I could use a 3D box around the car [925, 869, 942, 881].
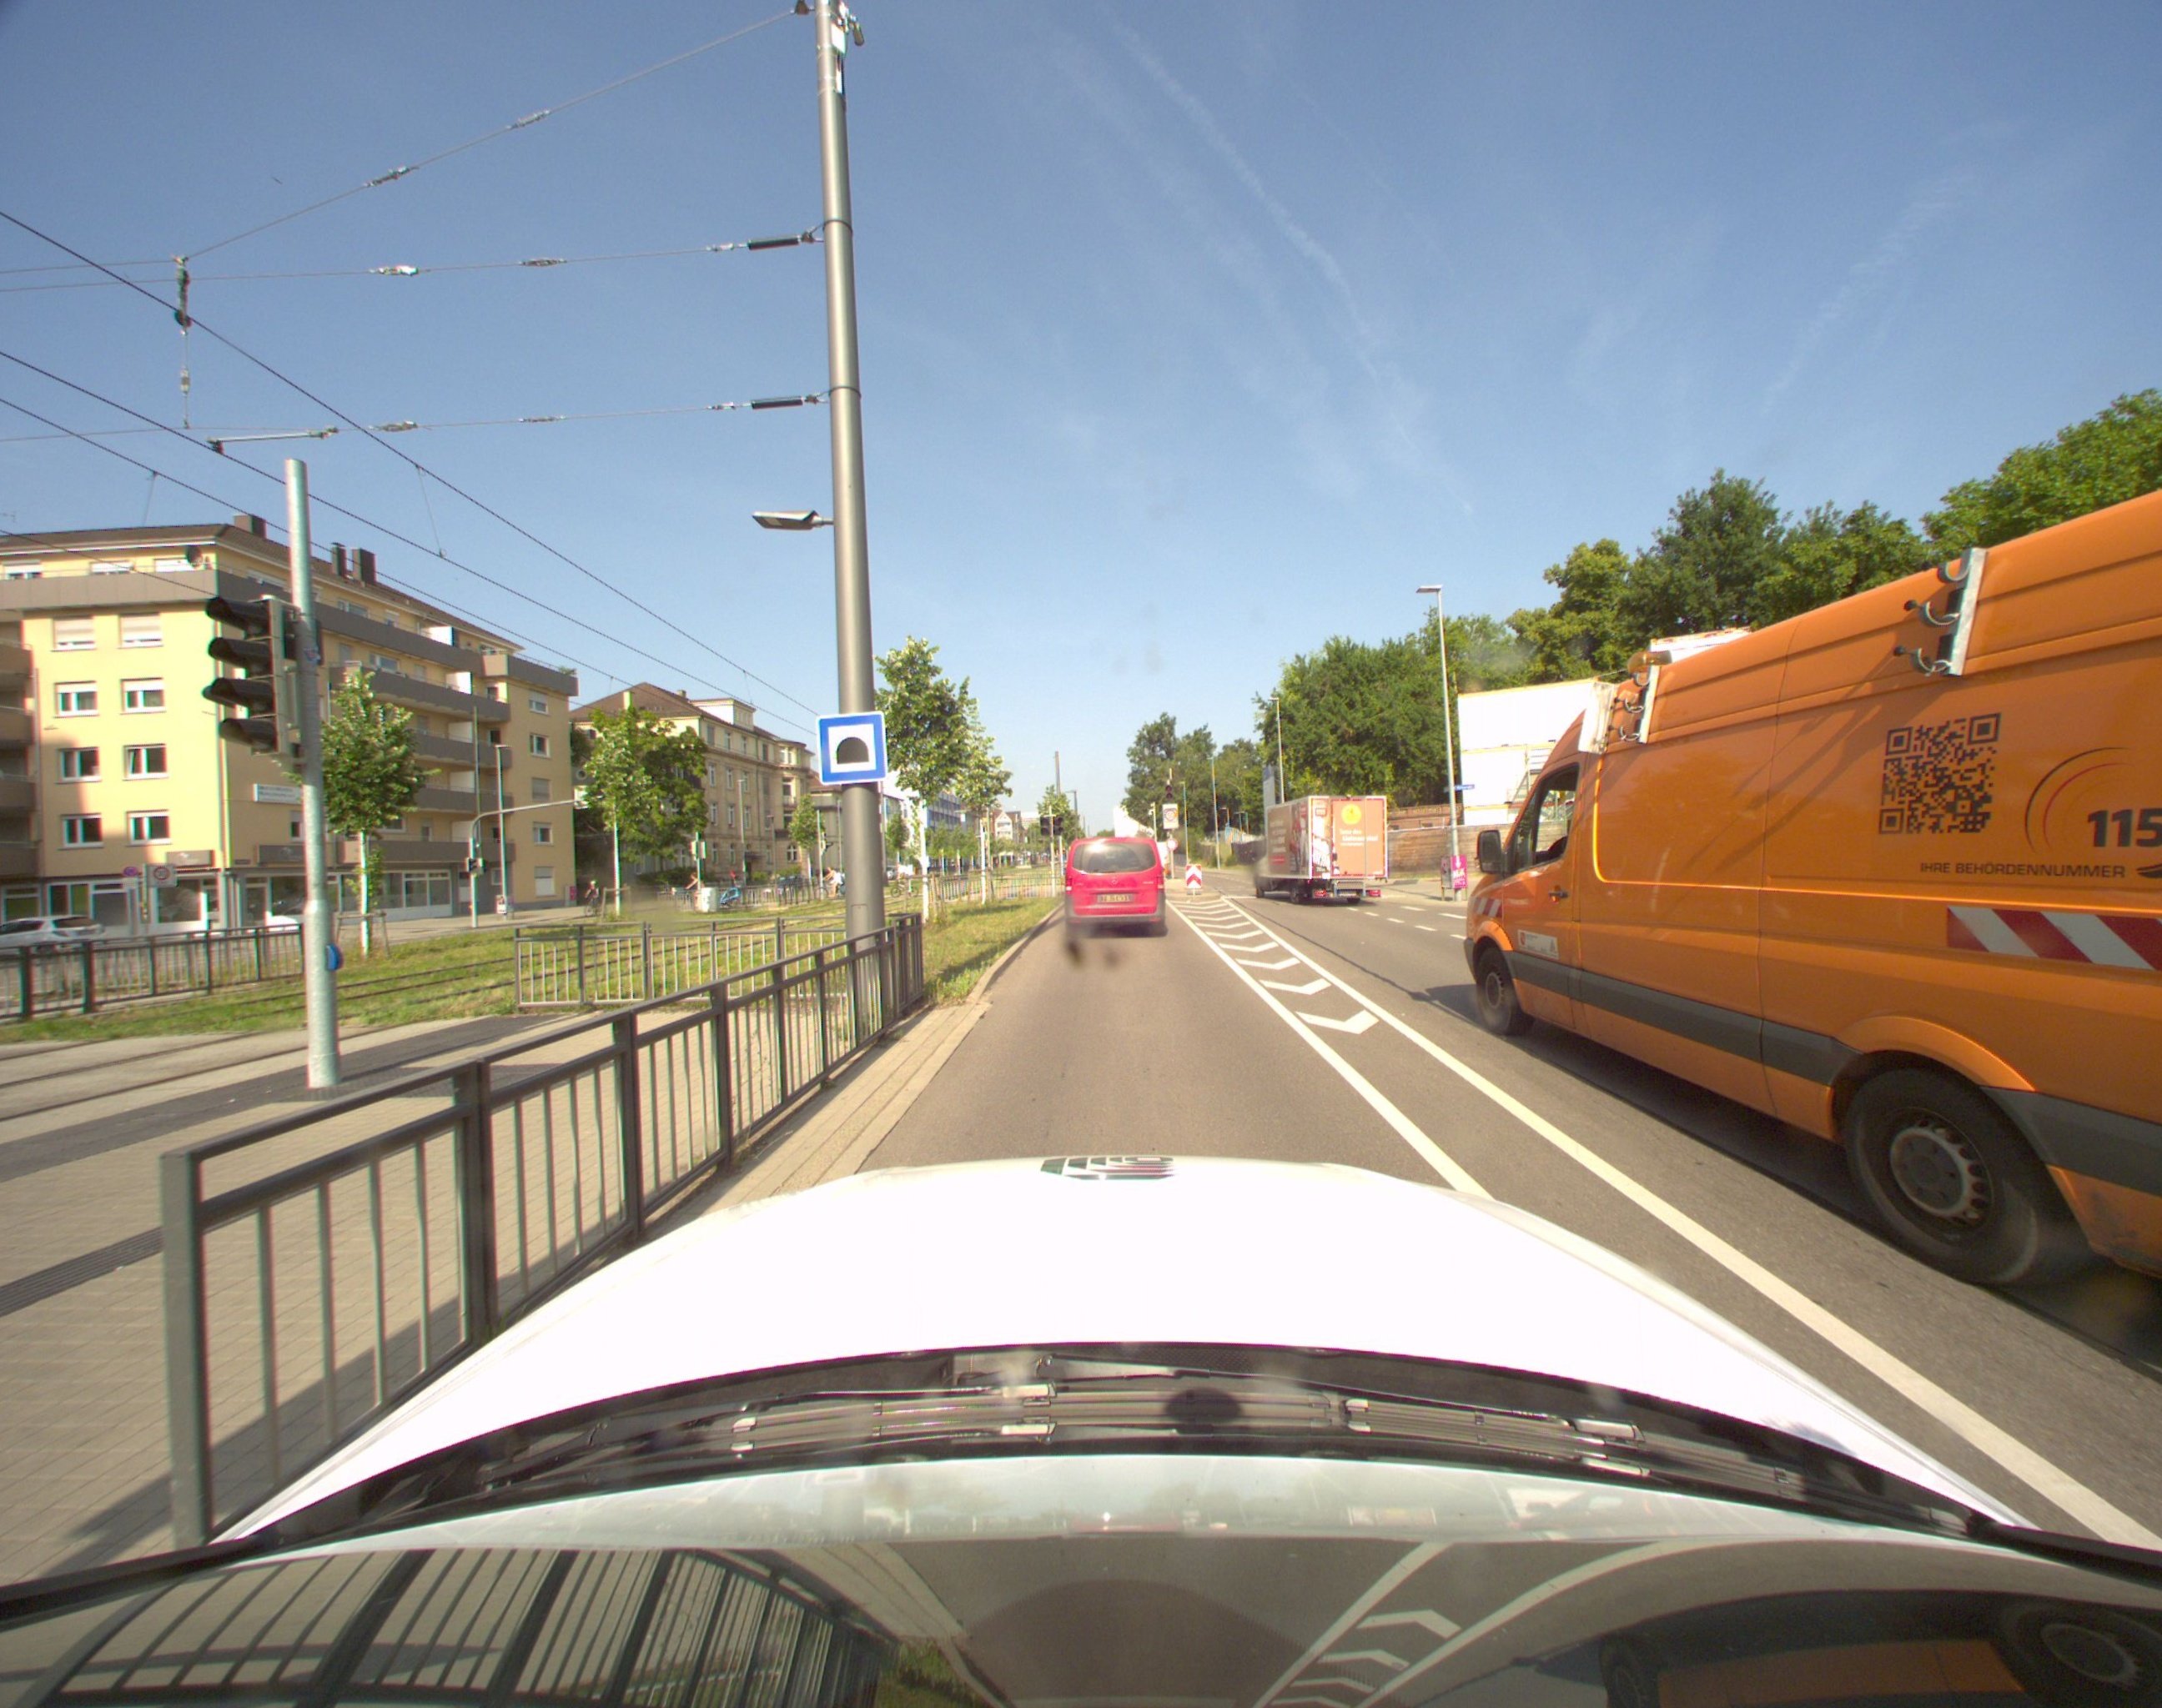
[{"bbox_3d":[-23.404,3.294,129.377,1.910,1.813,4.002,-1,-1,2],"label":"car"}]

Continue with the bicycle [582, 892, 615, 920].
[{"bbox_3d":[-25.006,2.688,42.210,0.693,1.346,1.756,-3,-1,-3],"label":"bicycle"}]

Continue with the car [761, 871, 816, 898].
[{"bbox_3d":[-19.348,1.994,54.111,1.987,1.513,4.397,-3,0,0],"label":"car"}]

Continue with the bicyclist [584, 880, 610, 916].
[{"bbox_3d":[-25.025,2.273,42.159,0.667,1.805,1.082,-3,-1,-3],"label":"bicyclist"}]

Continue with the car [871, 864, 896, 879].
[{"bbox_3d":[-27.889,2.453,115.441,2.242,2.014,5.262,-1,-2,0],"label":"car"}]

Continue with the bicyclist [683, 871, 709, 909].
[{"bbox_3d":[-17.310,1.617,36.642,0.896,1.628,0.883,-2,-1,-32],"label":"bicyclist"}]

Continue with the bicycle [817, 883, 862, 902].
[{"bbox_3d":[-11.800,1.881,39.893,1.995,0.793,0.627,-3,0,-8],"label":"bicycle"}]

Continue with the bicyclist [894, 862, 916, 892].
[{"bbox_3d":[-8.609,1.120,39.915,0.679,1.440,0.811,-1,-1,30],"label":"bicyclist"}]

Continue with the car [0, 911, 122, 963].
[{"bbox_3d":[-38.707,3.093,30.366,3.613,1.583,1.708,-3,2,-2],"label":"car"}]

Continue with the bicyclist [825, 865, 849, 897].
[{"bbox_3d":[-11.940,1.333,39.876,0.983,1.500,0.619,-3,0,-8],"label":"bicyclist"}]

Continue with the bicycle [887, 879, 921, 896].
[{"bbox_3d":[-8.638,1.630,39.856,0.711,0.798,1.613,-1,-1,30],"label":"bicycle"}]

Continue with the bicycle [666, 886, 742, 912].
[{"bbox_3d":[-17.019,2.036,36.835,3.009,0.965,0.891,-2,-1,-34],"label":"bicycle"}]

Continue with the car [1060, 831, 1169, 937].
[{"bbox_3d":[0.748,0.542,16.394,1.892,1.859,4.005,-1,0,5],"label":"car"}]

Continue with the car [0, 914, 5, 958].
[{"bbox_3d":[-43.319,3.232,30.383,3.777,1.688,1.773,-3,0,-2],"label":"car"}]

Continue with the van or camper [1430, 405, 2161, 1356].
[{"bbox_3d":[3.988,0.054,4.447,1.977,2.472,6.069,-1,0,5],"label":"van or camper"}]

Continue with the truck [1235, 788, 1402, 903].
[{"bbox_3d":[7.072,-0.183,25.569,2.497,3.061,7.809,-1,-1,-4],"label":"truck"}]
